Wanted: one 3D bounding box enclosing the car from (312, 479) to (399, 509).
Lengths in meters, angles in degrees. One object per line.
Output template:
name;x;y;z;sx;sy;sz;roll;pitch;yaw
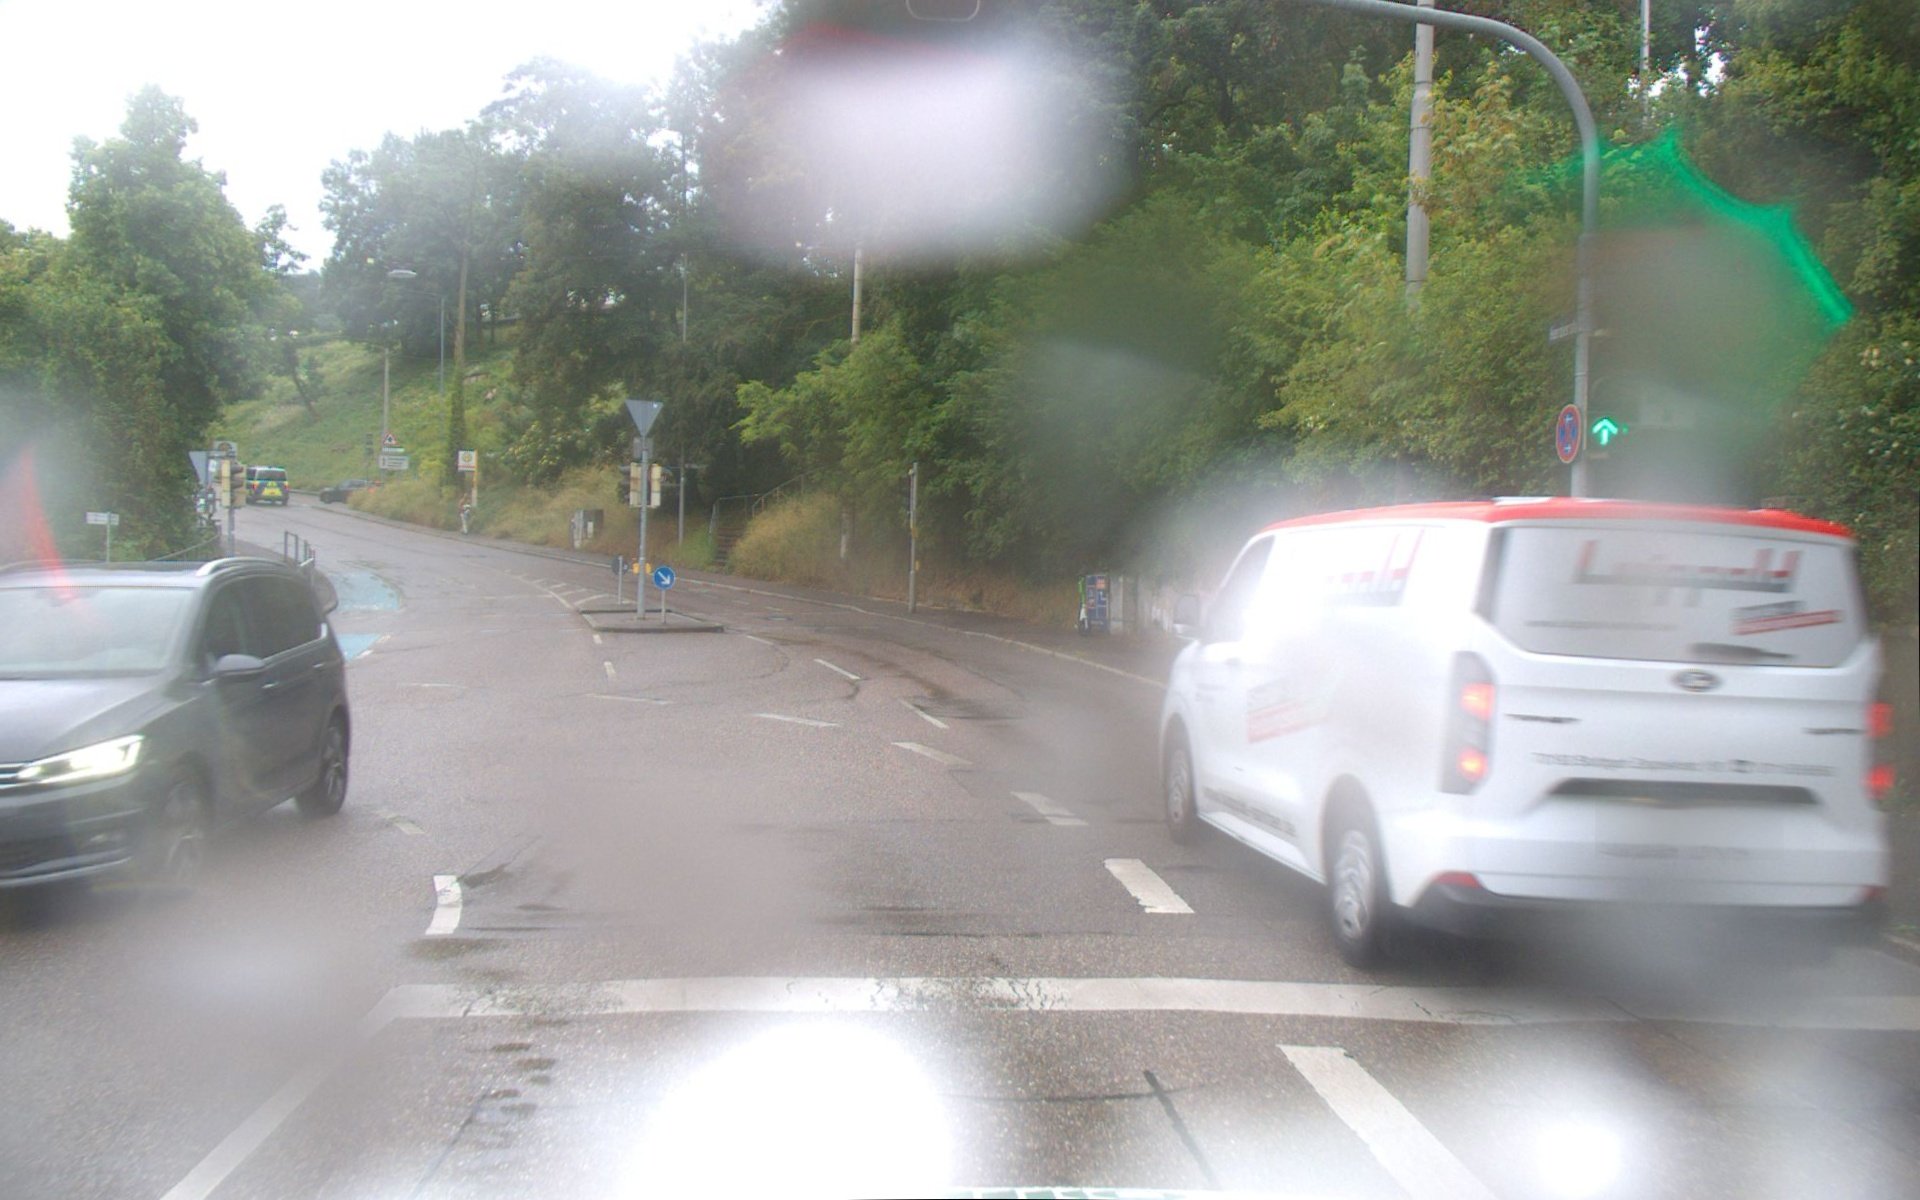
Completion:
car;-34.946;-6.122;95.588;4.296;1.538;1.965;2;3;10

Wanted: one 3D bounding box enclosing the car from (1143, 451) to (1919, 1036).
car;2.420;0.457;8.261;2.026;2.041;4.809;0;1;-6

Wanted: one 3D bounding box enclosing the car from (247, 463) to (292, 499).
car;-37.573;-6.428;89.984;1.896;1.811;3.965;1;2;-28

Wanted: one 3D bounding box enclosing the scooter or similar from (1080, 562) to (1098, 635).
scooter or similar;2.354;-0.040;30.227;0.315;1.302;0.752;0;3;4

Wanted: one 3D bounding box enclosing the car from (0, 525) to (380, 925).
car;-4.668;0.514;9.136;1.813;1.709;4.167;-1;1;-6

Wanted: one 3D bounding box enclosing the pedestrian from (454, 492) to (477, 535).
pedestrian;-20.695;-3.612;69.166;0.868;1.767;0.860;0;-1;-20
